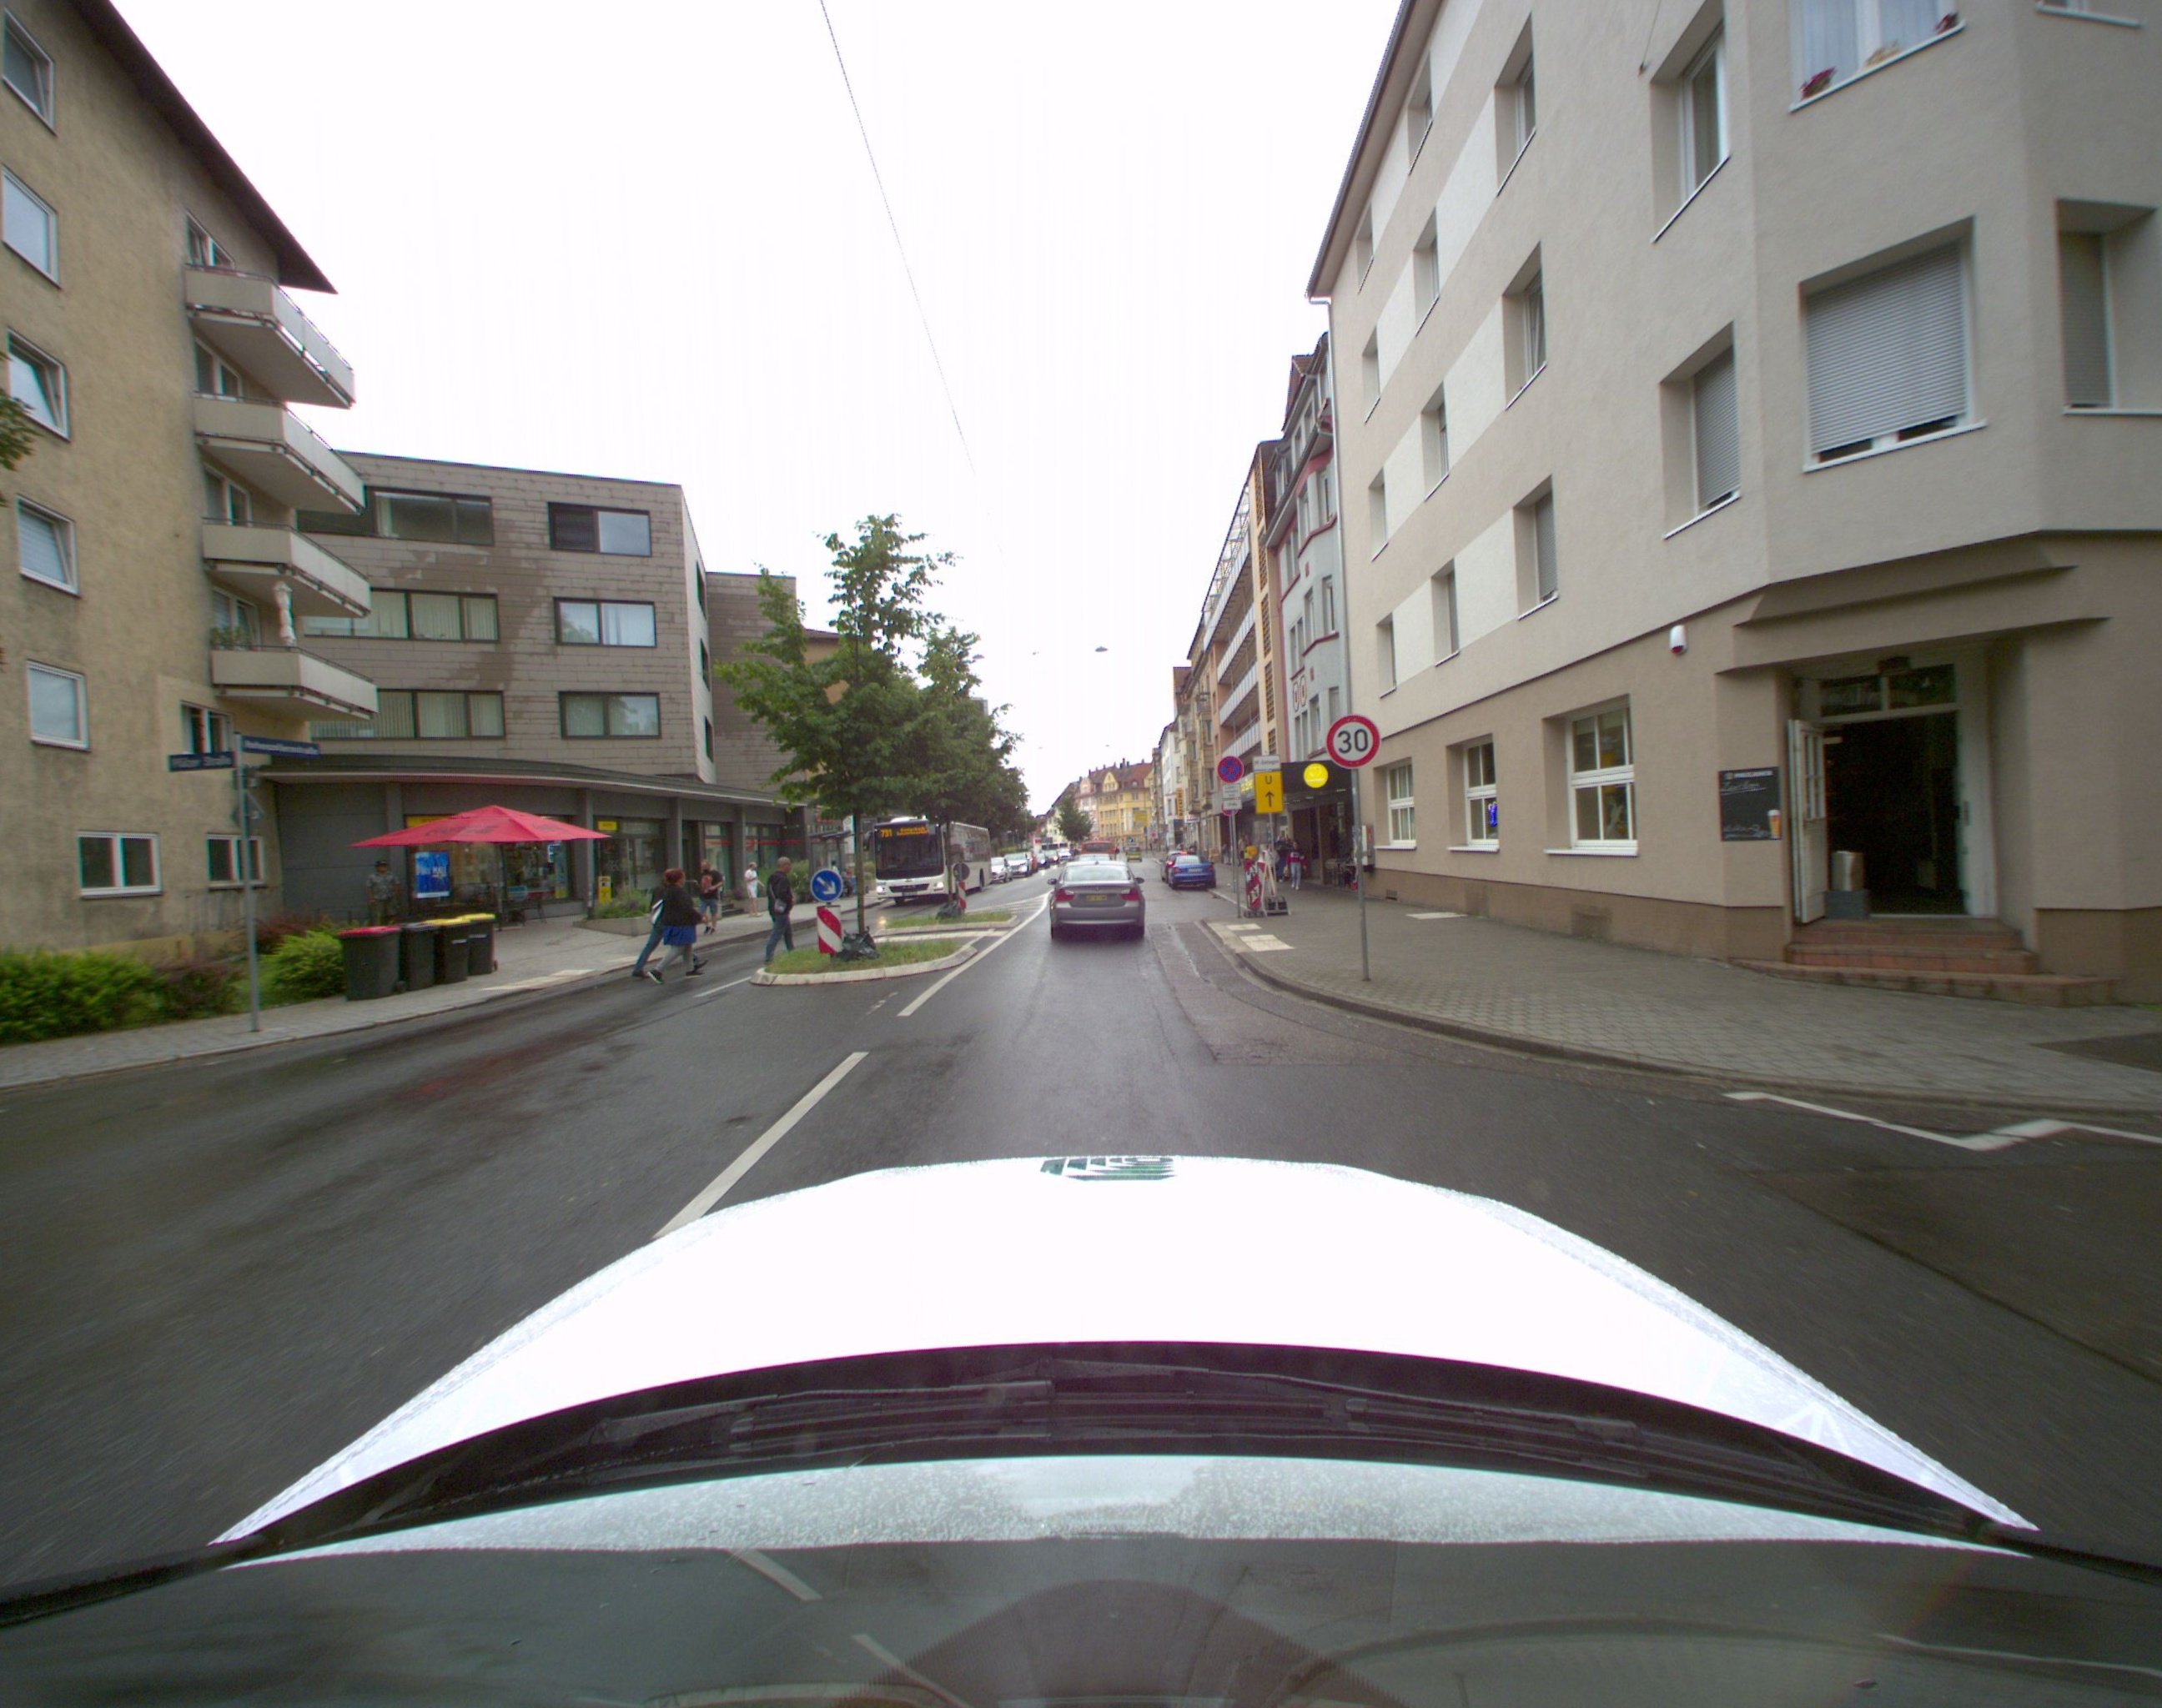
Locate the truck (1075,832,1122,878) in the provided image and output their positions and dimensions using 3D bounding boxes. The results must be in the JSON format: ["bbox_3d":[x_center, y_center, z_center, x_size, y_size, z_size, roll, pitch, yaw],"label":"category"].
[{"bbox_3d":[0.855,0.092,41.048,2.208,2.117,4.651,1,-1,0],"label":"truck"}]

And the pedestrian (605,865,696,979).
[{"bbox_3d":[-6.905,1.071,13.104,1.061,1.731,0.712,-2,0,-8],"label":"pedestrian"}]

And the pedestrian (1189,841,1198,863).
[{"bbox_3d":[7.140,-0.116,51.831,0.519,1.421,0.431,0,-2,11],"label":"pedestrian"}]

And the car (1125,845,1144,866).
[{"bbox_3d":[5.314,0.200,81.917,1.699,2.014,3.999,0,-2,0],"label":"car"}]

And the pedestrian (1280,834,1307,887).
[{"bbox_3d":[6.834,0.210,26.197,0.746,1.661,0.756,0,-2,9],"label":"pedestrian"}]

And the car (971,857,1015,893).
[{"bbox_3d":[-5.026,1.227,47.036,1.986,2.014,4.001,0,-2,2],"label":"car"}]

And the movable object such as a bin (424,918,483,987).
[{"bbox_3d":[-10.631,1.663,13.809,0.488,1.081,0.606,-3,-2,3],"label":"movable object such as a bin"}]

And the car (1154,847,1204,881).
[{"bbox_3d":[4.519,0.487,38.048,1.986,1.519,4.001,0,-2,2],"label":"car"}]

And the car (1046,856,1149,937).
[{"bbox_3d":[0.359,0.742,15.670,1.749,1.362,3.167,-1,0,2],"label":"car"}]

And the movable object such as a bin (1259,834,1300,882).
[{"bbox_3d":[7.548,0.168,31.068,1.119,1.703,1.433,-4,-2,0],"label":"movable object such as a bin"}]

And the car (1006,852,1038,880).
[{"bbox_3d":[-4.441,0.953,61.642,1.986,2.014,4.001,0,-2,2],"label":"car"}]

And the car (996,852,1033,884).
[{"bbox_3d":[-4.327,0.937,53.596,1.986,2.014,4.001,0,-2,2],"label":"car"}]

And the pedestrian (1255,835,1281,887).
[{"bbox_3d":[6.157,0.241,26.842,0.744,1.661,0.839,0,-2,9],"label":"pedestrian"}]

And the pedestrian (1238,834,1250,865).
[{"bbox_3d":[8.962,-0.234,44.834,0.611,1.661,0.756,0,-2,9],"label":"pedestrian"}]

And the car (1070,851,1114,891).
[{"bbox_3d":[0.409,0.667,31.170,1.596,1.420,3.287,0,-2,0],"label":"car"}]

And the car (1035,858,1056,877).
[{"bbox_3d":[-3.766,1.453,87.614,1.986,2.014,4.001,0,-2,2],"label":"car"}]

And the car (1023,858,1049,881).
[{"bbox_3d":[-3.982,1.416,73.379,1.986,2.014,4.001,0,-2,2],"label":"car"}]

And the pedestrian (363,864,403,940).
[{"bbox_3d":[-17.354,1.177,20.268,0.638,1.816,0.631,-3,0,-36],"label":"pedestrian"}]

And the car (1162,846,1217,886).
[{"bbox_3d":[4.258,0.515,32.470,1.802,1.519,4.001,0,-2,2],"label":"car"}]

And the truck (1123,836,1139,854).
[{"bbox_3d":[7.568,-1.308,123.741,2.208,2.544,4.781,0,-2,2],"label":"truck"}]

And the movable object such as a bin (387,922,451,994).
[{"bbox_3d":[-10.693,1.670,13.162,0.488,1.081,0.606,-3,-2,3],"label":"movable object such as a bin"}]

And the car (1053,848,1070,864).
[{"bbox_3d":[-2.462,0.249,105.948,1.986,2.014,4.001,0,-2,2],"label":"car"}]

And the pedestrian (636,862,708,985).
[{"bbox_3d":[-6.082,1.011,12.153,0.741,1.709,0.676,-4,-1,-18],"label":"pedestrian"}]

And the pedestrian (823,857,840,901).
[{"bbox_3d":[-9.810,0.986,32.060,0.542,1.709,0.465,0,-2,-4],"label":"pedestrian"}]

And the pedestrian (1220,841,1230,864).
[{"bbox_3d":[9.207,-0.102,51.993,0.560,1.421,0.799,0,-2,15],"label":"pedestrian"}]

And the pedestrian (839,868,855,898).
[{"bbox_3d":[-9.731,1.221,33.923,0.462,1.231,0.545,0,-2,4],"label":"pedestrian"}]

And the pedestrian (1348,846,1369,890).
[{"bbox_3d":[7.918,0.395,23.246,0.410,1.203,0.357,-5,0,5],"label":"pedestrian"}]

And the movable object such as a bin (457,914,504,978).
[{"bbox_3d":[-10.738,1.632,14.564,0.466,1.071,0.544,-5,-3,39],"label":"movable object such as a bin"}]

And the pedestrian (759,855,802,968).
[{"bbox_3d":[-4.751,0.894,12.909,0.466,1.709,0.541,-6,0,-18],"label":"pedestrian"}]

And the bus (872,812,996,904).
[{"bbox_3d":[-5.775,0.323,34.505,2.671,3.201,11.958,0,-2,2],"label":"bus"}]

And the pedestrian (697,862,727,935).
[{"bbox_3d":[-9.215,1.098,20.351,0.542,1.790,0.465,0,-2,-6],"label":"pedestrian"}]

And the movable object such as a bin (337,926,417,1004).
[{"bbox_3d":[-10.771,1.680,12.482,0.551,1.081,0.731,-3,-2,3],"label":"movable object such as a bin"}]

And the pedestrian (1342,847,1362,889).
[{"bbox_3d":[8.074,0.408,24.298,0.410,1.203,0.357,-5,0,5],"label":"pedestrian"}]

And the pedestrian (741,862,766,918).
[{"bbox_3d":[-10.276,1.127,25.579,0.661,1.706,0.656,1,-2,-26],"label":"pedestrian"}]
